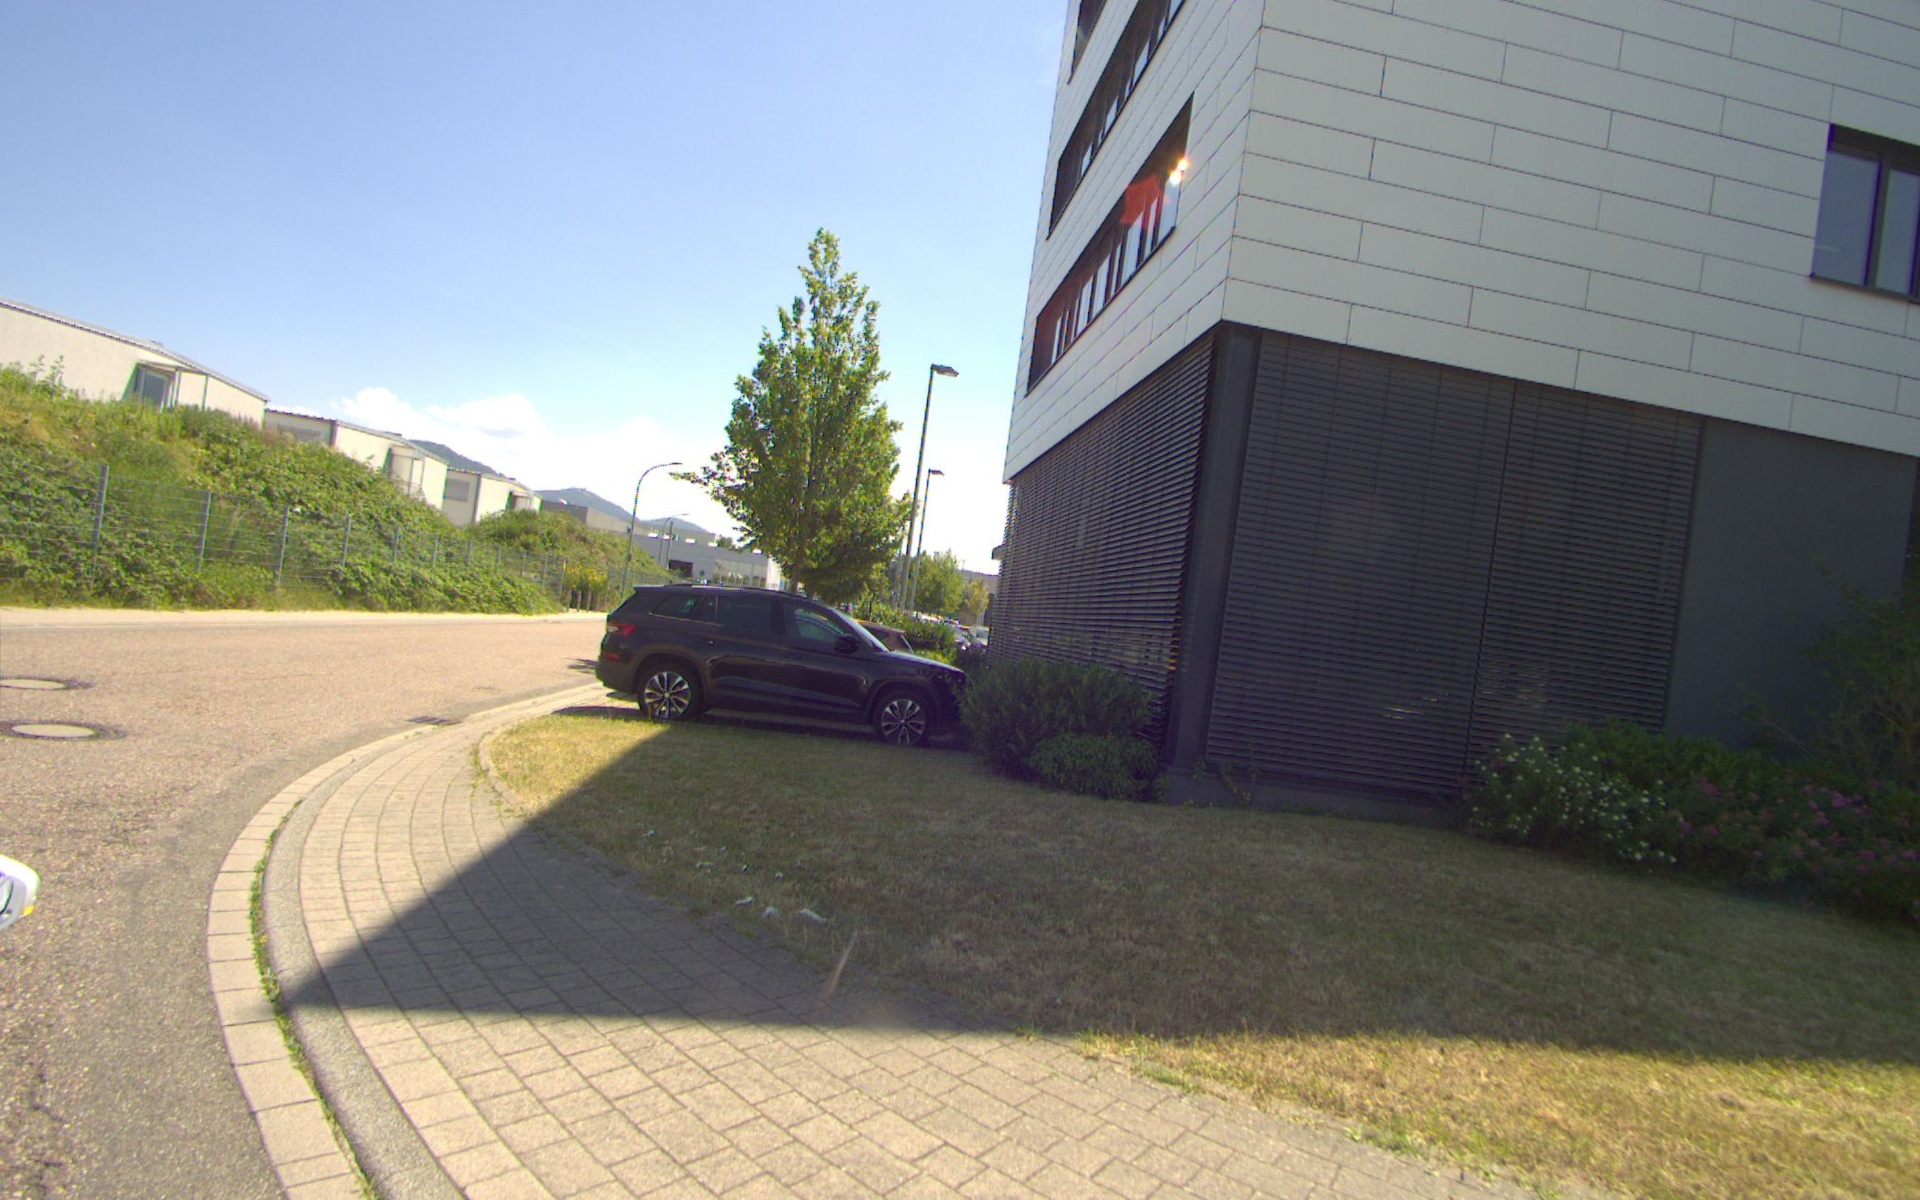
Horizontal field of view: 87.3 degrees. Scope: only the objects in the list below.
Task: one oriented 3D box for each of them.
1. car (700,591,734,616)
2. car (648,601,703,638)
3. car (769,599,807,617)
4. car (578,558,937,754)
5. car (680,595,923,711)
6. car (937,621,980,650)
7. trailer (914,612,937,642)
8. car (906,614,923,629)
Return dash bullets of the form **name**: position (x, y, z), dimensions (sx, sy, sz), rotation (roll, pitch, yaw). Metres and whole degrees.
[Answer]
- **car**: position (-16.668, 0.254, 69.161), dimensions (1.633, 1.434, 4.141), rotation (8, -1, -8)
- **car**: position (-14.733, 0.995, 52.301), dimensions (1.808, 1.564, 4.364), rotation (8, -1, -6)
- **car**: position (-18.999, 0.891, 111.442), dimensions (3.932, 1.413, 1.999), rotation (8, -3, -8)
- **car**: position (-2.365, 0.683, 12.469), dimensions (3.928, 1.786, 1.724), rotation (7, -1, -3)
- **car**: position (-2.768, 0.937, 17.928), dimensions (3.932, 1.512, 1.723), rotation (7, -1, -8)
- **car**: position (-0.126, 2.086, 59.293), dimensions (1.765, 1.448, 4.141), rotation (8, -3, -8)
- **trailer**: position (-2.776, 2.112, 80.287), dimensions (1.471, 2.033, 3.259), rotation (7, 2, -4)
- **car**: position (-6.592, 3.145, 144.832), dimensions (1.965, 1.847, 4.000), rotation (8, -3, -6)
